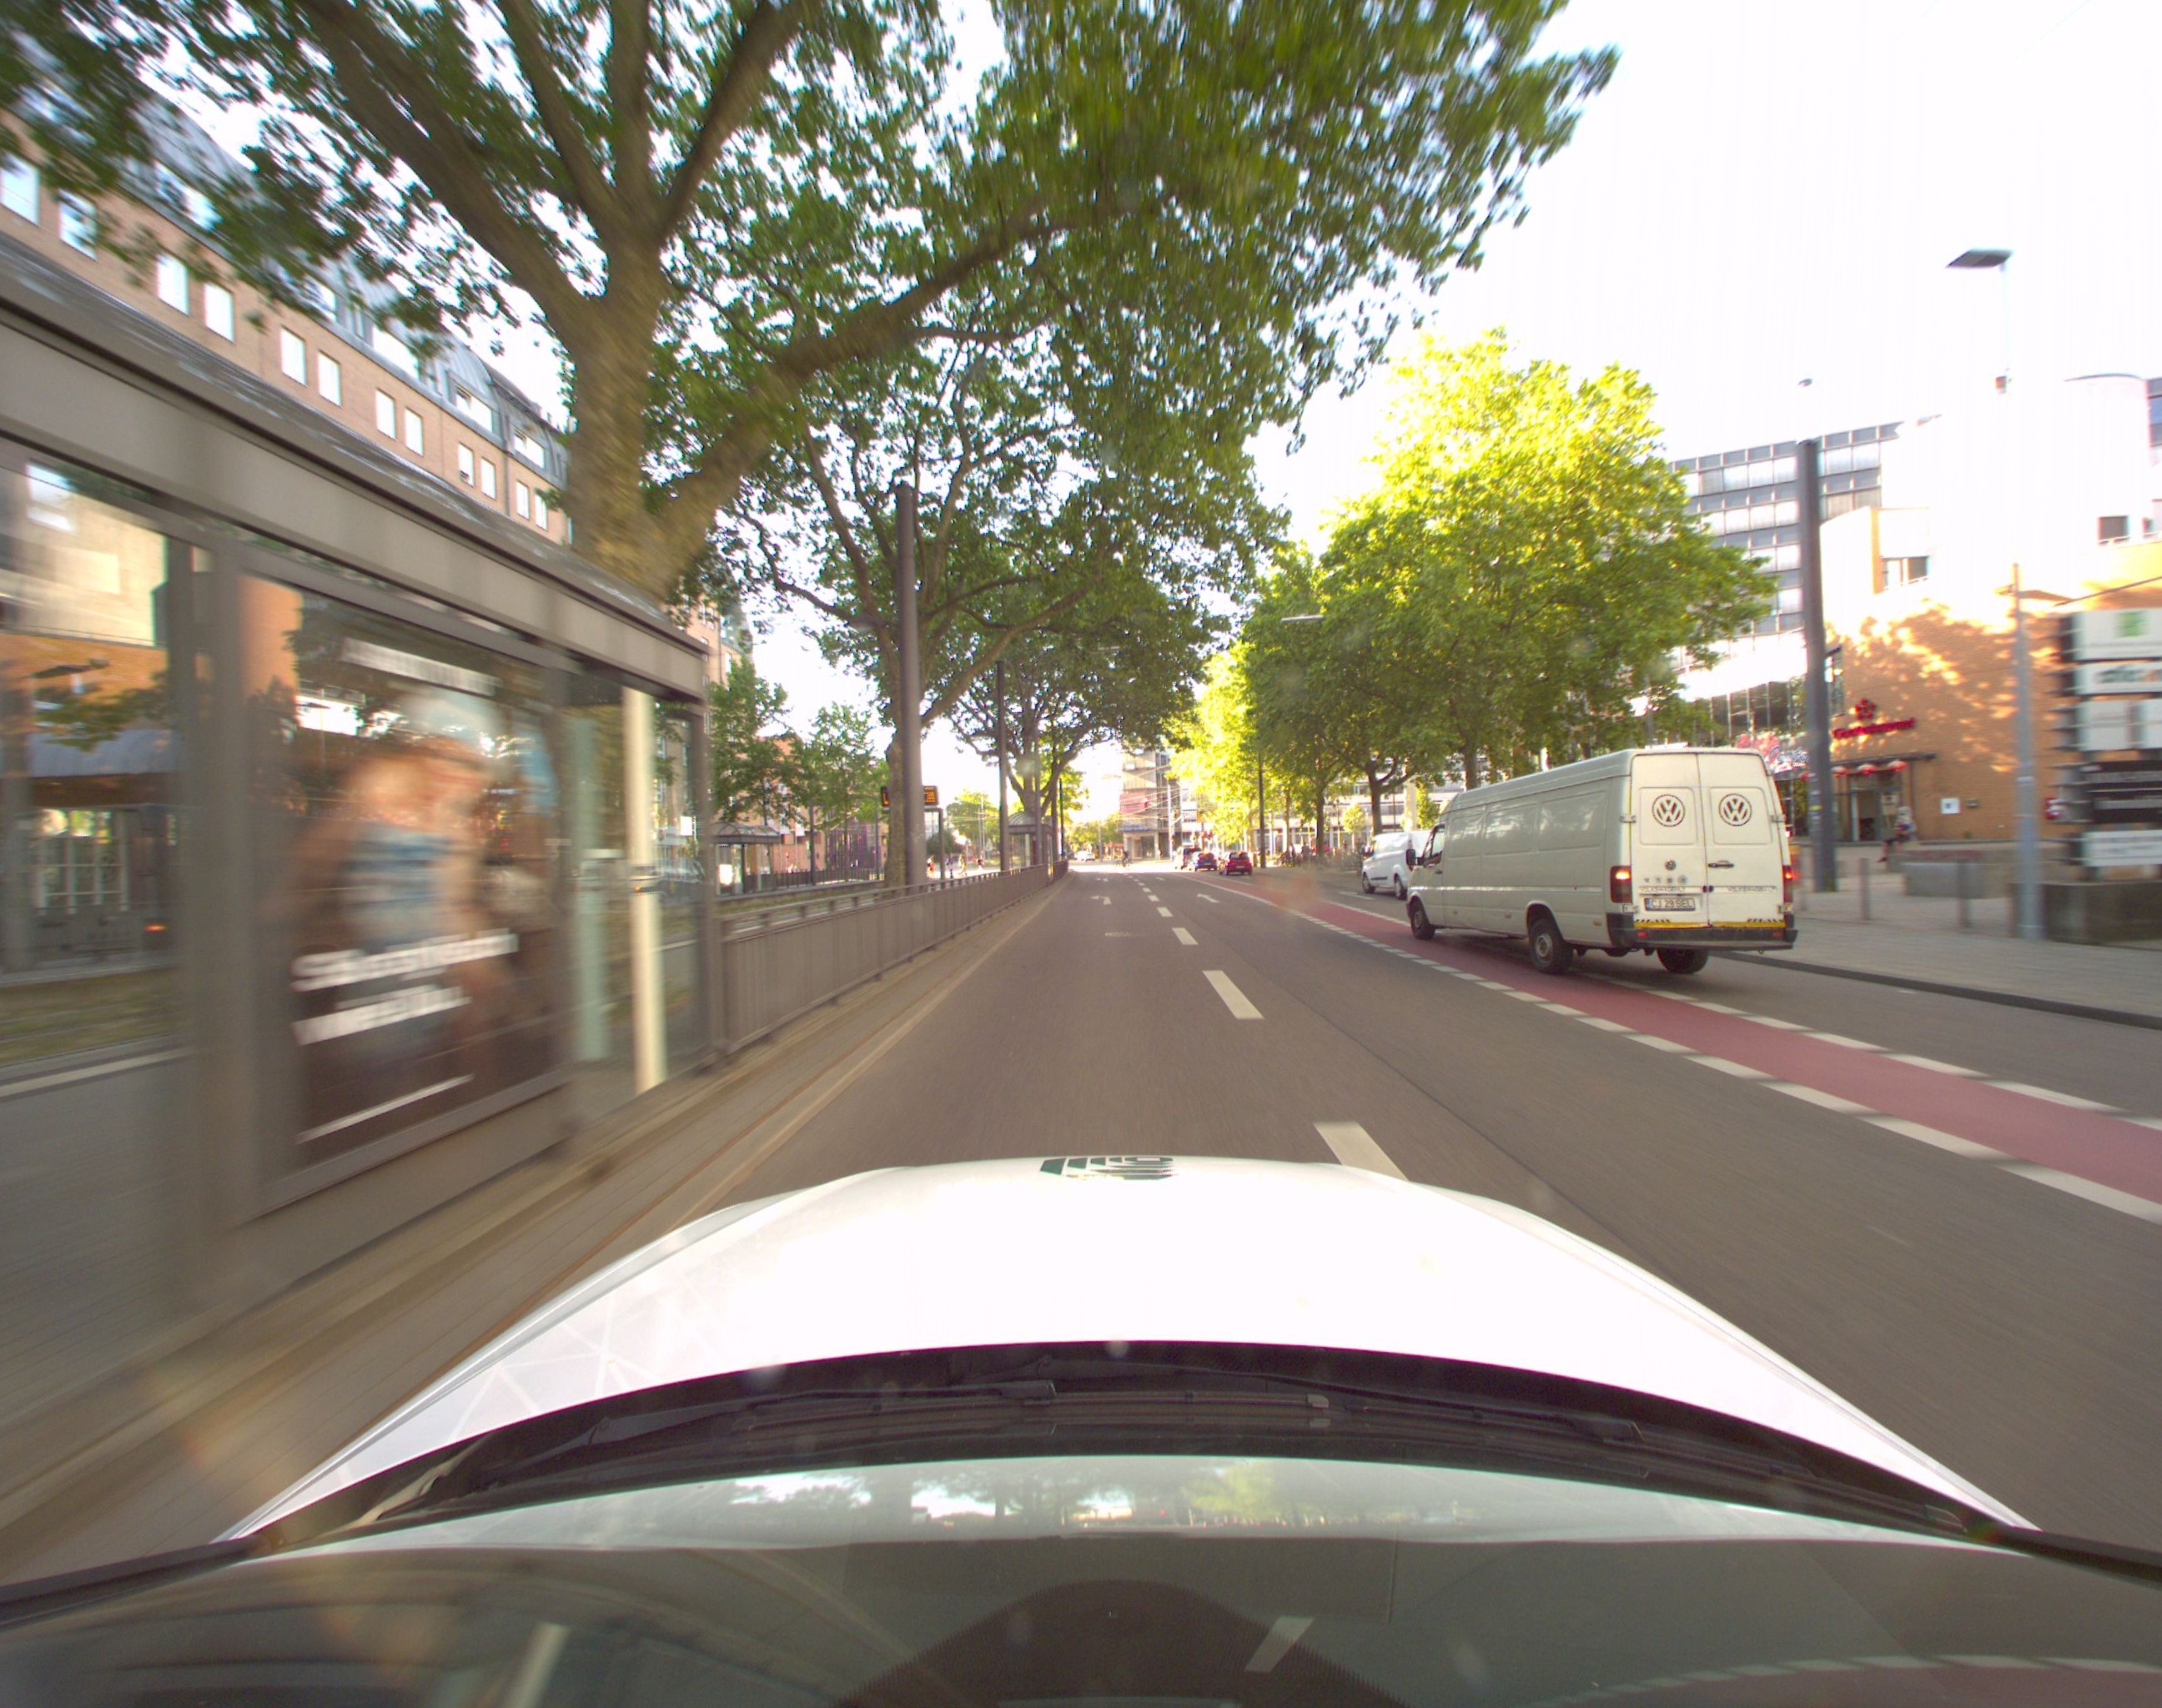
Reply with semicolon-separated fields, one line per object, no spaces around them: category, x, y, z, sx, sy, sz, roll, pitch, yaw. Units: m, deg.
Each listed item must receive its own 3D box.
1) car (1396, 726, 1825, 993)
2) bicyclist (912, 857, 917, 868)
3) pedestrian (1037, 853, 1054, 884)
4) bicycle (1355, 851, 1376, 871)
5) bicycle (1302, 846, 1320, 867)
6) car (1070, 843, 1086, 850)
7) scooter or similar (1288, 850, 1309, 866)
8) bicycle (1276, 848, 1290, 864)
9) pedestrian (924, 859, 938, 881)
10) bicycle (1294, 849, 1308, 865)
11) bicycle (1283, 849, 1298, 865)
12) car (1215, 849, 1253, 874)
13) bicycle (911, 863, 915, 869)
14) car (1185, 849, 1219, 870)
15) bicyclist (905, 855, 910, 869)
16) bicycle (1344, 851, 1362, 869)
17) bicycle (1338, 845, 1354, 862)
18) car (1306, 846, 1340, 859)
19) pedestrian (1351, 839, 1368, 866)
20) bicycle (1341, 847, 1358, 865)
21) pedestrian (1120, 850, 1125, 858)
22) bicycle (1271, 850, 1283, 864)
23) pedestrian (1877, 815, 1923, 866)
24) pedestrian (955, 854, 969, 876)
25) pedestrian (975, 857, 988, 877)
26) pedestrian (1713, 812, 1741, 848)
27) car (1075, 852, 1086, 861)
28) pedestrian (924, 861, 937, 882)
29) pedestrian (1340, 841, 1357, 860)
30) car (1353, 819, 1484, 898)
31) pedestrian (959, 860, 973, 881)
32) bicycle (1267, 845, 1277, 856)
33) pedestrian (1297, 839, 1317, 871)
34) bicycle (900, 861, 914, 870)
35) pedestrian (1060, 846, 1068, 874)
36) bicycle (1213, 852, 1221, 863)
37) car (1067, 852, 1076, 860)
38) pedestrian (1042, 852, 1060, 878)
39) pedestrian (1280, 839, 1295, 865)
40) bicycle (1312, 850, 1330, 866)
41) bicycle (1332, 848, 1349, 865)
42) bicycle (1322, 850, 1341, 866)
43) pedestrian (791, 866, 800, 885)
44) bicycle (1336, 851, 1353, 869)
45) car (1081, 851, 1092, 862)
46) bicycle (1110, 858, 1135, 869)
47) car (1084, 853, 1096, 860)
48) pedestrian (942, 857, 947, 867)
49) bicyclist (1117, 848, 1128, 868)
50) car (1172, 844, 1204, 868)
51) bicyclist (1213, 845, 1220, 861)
car;6.703;0.053;11.644;1.986;2.724;6.563;-1;0;1
bicyclist;-27.002;1.402;131.920;0.593;1.675;0.787;-2;0;-8
pedestrian;-1.623;0.664;37.162;0.731;1.387;0.641;-1;-1;3
bicycle;14.468;0.371;41.482;0.449;0.980;1.763;-3;0;2
bicycle;14.878;0.163;52.695;0.594;1.264;1.875;-2;0;-2
car;-0.717;-1.928;208.904;3.735;1.750;1.788;-1;-1;13
scooter or similar;15.897;0.302;59.494;1.255;1.142;0.911;1;-3;-15
bicycle;14.552;0.120;58.619;0.590;1.116;1.837;-3;0;26
pedestrian;-12.832;1.382;69.598;1.073;1.871;0.736;-1;-1;-9
bicycle;15.571;0.195;57.586;0.590;1.116;1.837;-3;0;26
bicycle;14.896;0.205;57.846;0.590;1.116;1.961;-3;0;26
car;9.509;0.467;50.751;1.554;1.464;3.619;-1;0;-2
bicycle;-27.137;1.965;131.803;0.512;0.881;1.833;-2;0;-9
car;9.262;0.424;62.750;1.760;1.464;4.213;-2;0;-3
bicyclist;-26.721;1.264;125.207;0.565;2.060;0.446;-2;0;-37
bicycle;15.505;0.345;46.403;0.449;0.980;1.763;-3;0;2
bicycle;18.832;-0.028;57.927;0.420;1.159;1.471;-2;0;-10
car;34.038;-0.219;114.472;4.221;1.560;1.798;-2;0;4
pedestrian;18.766;-0.077;54.899;0.816;1.757;0.769;-2;0;-5
bicycle;17.416;0.144;52.889;0.500;1.137;1.654;-2;0;-2
pedestrian;7.293;0.012;142.005;0.738;1.465;0.536;-3;0;-3
bicycle;15.028;0.203;62.417;0.625;1.057;1.574;-2;0;5
pedestrian;24.020;-0.388;23.894;0.708;1.456;0.601;-2;0;1
pedestrian;-10.231;0.947;70.098;1.145;1.893;0.830;-1;-1;-9
pedestrian;-8.821;1.120;72.047;1.071;1.715;0.627;-1;-1;-5
pedestrian;33.950;-1.242;42.794;0.856;1.844;0.988;-2;0;-42
car;-0.129;0.496;172.543;1.988;1.662;3.997;-2;0;-2
pedestrian;-12.734;1.469;68.854;1.072;1.682;0.755;-1;-1;-9
pedestrian;25.270;-0.327;77.060;1.207;1.822;1.039;0;-1;-7
car;10.271;0.122;25.316;2.113;2.134;5.295;-2;0;4
pedestrian;-9.788;1.388;69.298;1.071;1.806;0.755;-1;-1;-9
bicycle;17.463;-0.328;74.540;0.449;0.982;1.475;-2;0;-3
pedestrian;12.705;0.063;45.823;0.869;1.786;0.808;-2;0;-1
bicycle;-26.734;1.735;125.206;2.106;1.239;0.448;-3;0;-38
pedestrian;-1.163;0.407;56.413;0.508;1.900;0.759;0;-1;0
bicycle;14.065;0.320;84.290;0.563;1.126;1.781;-2;0;5
car;-2.283;0.504;193.992;1.988;1.662;3.997;-2;0;-2
pedestrian;-1.669;0.616;45.471;0.972;1.400;0.665;-1;-1;3
pedestrian;14.755;-0.162;58.193;0.799;1.786;0.661;-2;0;25
bicycle;15.556;0.262;52.799;0.594;1.031;1.654;-2;0;-2
bicycle;16.859;0.149;52.873;0.500;1.031;1.654;-2;0;-2
bicycle;16.248;0.253;52.847;0.594;1.031;1.654;-2;0;-2
pedestrian;-24.826;1.870;70.775;0.588;1.584;0.724;0;-1;-3
bicycle;14.992;0.349;46.337;0.449;0.980;1.763;-3;0;2
car;1.041;0.513;157.050;1.988;1.991;3.997;-2;0;-2
bicycle;3.713;0.847;73.366;2.172;0.933;0.667;-2;0;-4
car;1.640;0.459;150.181;1.988;1.332;3.997;-2;0;-2
pedestrian;-21.080;1.226;125.664;0.538;1.650;0.621;-2;0;-20
bicyclist;3.726;0.343;73.371;0.847;1.785;0.752;-2;0;-3
car;9.053;0.155;69.358;1.988;1.966;5.135;-1;0;-1
bicyclist;14.043;-0.125;84.232;0.559;1.616;0.823;-2;0;5
